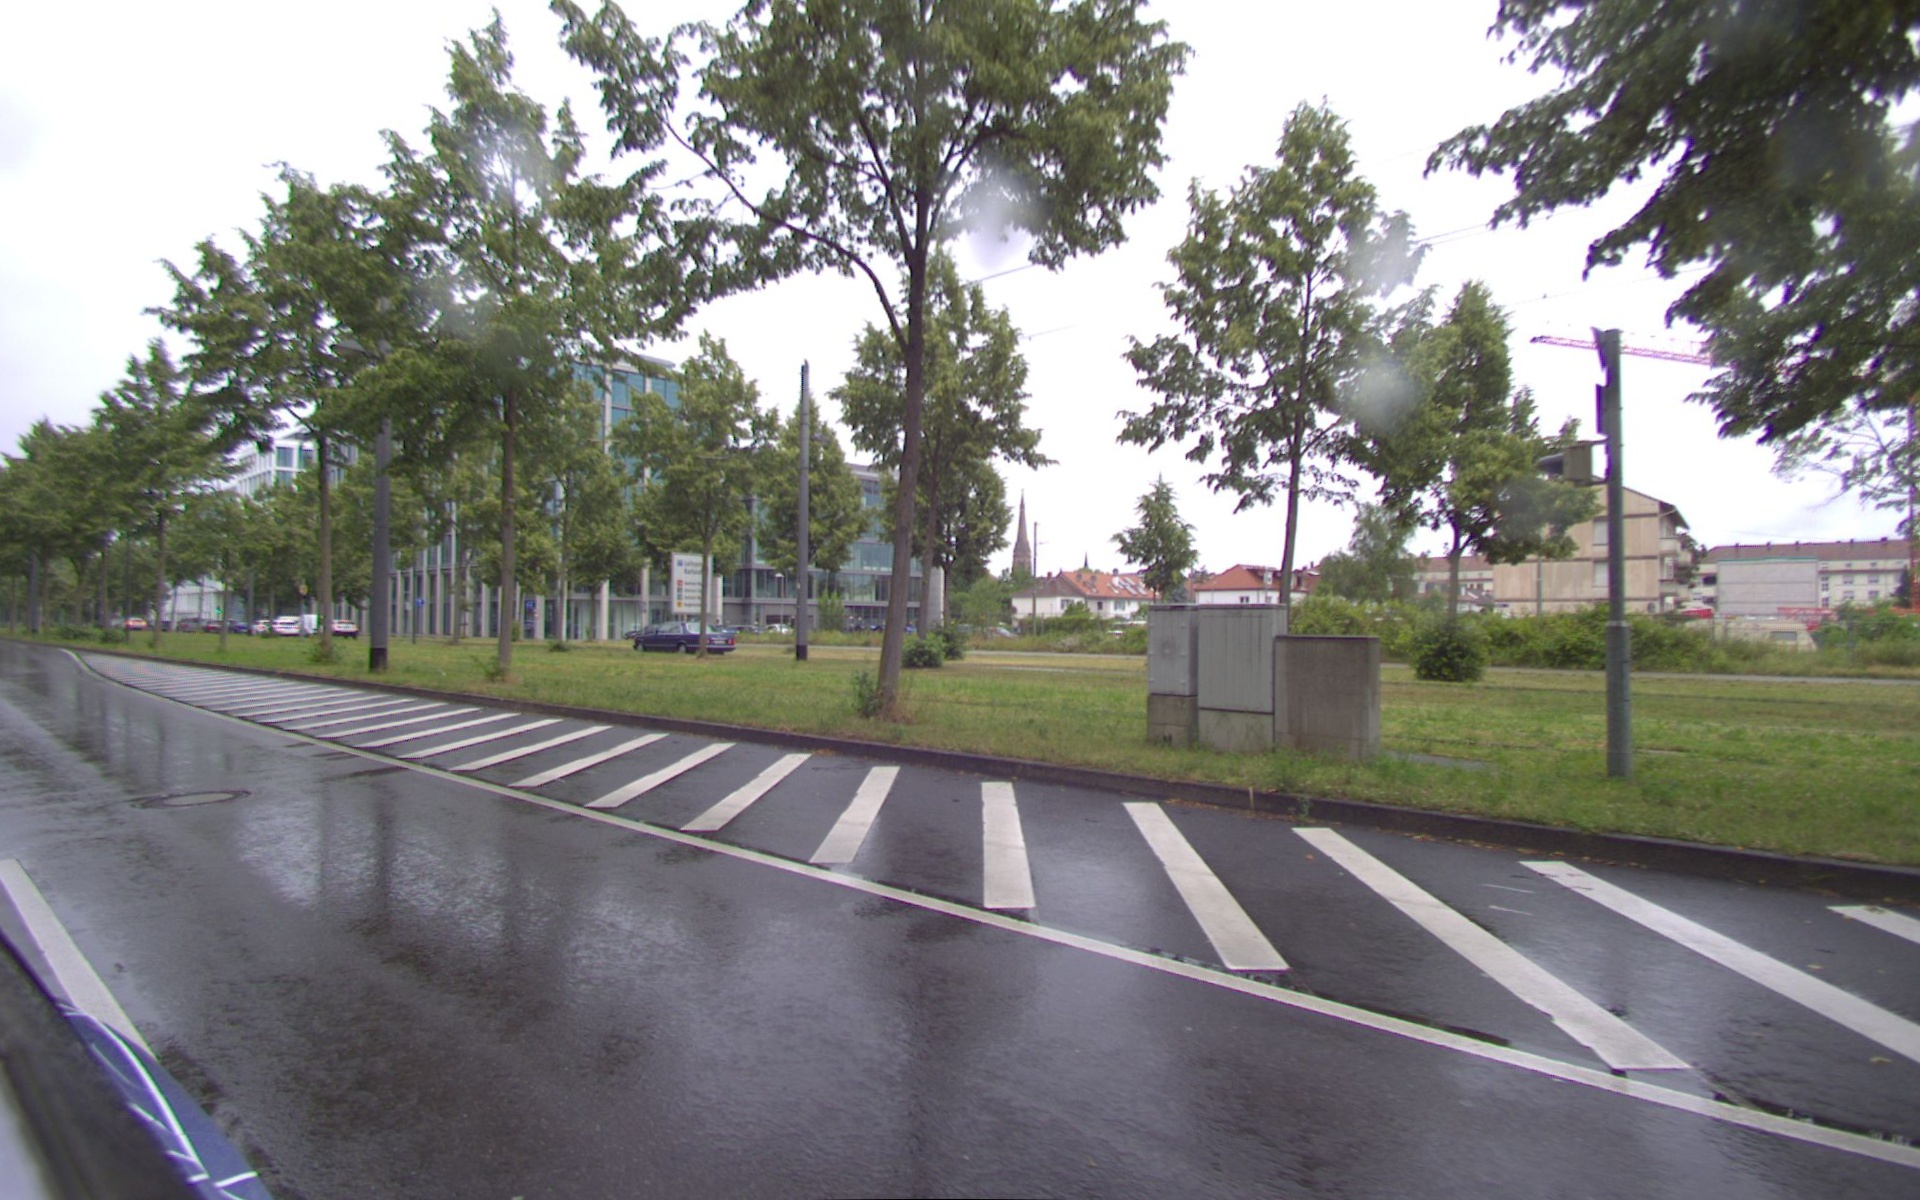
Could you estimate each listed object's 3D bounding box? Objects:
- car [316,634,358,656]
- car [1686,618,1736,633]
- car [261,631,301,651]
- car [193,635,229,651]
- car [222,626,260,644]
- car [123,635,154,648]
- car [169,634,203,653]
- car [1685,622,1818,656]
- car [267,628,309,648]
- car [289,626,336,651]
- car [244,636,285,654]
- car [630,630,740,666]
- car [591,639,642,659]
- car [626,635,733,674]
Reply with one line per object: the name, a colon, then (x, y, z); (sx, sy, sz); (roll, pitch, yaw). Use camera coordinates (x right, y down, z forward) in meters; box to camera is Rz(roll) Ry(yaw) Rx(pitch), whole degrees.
car: (-50.921, 3.671, 82.724); (4.578, 1.762, 1.928); (-2, -2, 45)
car: (67.078, 2.299, 90.393); (3.248, 1.222, 1.470); (-3, -4, 24)
car: (-56.485, 3.409, 84.166); (1.928, 1.472, 4.834); (2, -5, -44)
car: (-73.876, 4.242, 99.847); (4.602, 1.396, 1.930); (-4, -4, 41)
car: (-66.598, 3.293, 93.728); (3.958, 1.506, 1.931); (-4, -4, 40)
car: (-90.733, 4.568, 111.708); (4.574, 1.463, 1.930); (-2, -2, 42)
car: (-81.251, 4.566, 106.220); (4.541, 1.863, 1.930); (-3, -4, 41)
car: (44.688, 2.237, 57.254); (5.771, 1.685, 2.025); (-4, -4, 40)
car: (-62.365, 3.556, 93.933); (5.025, 1.664, 1.931); (-4, -4, 40)
car: (-56.622, 3.365, 88.470); (5.372, 2.022, 2.243); (-5, -5, 43)
car: (-61.139, 3.926, 88.923); (4.574, 1.525, 1.930); (-2, -2, 42)
car: (-10.487, 1.842, 38.369); (4.848, 1.276, 1.533); (-3, -4, 40)
car: (-29.690, 4.260, 87.512); (3.745, 1.621, 1.745); (2, -5, -45)
car: (-10.751, 2.040, 38.608); (4.975, 1.307, 1.472); (0, -2, 42)
